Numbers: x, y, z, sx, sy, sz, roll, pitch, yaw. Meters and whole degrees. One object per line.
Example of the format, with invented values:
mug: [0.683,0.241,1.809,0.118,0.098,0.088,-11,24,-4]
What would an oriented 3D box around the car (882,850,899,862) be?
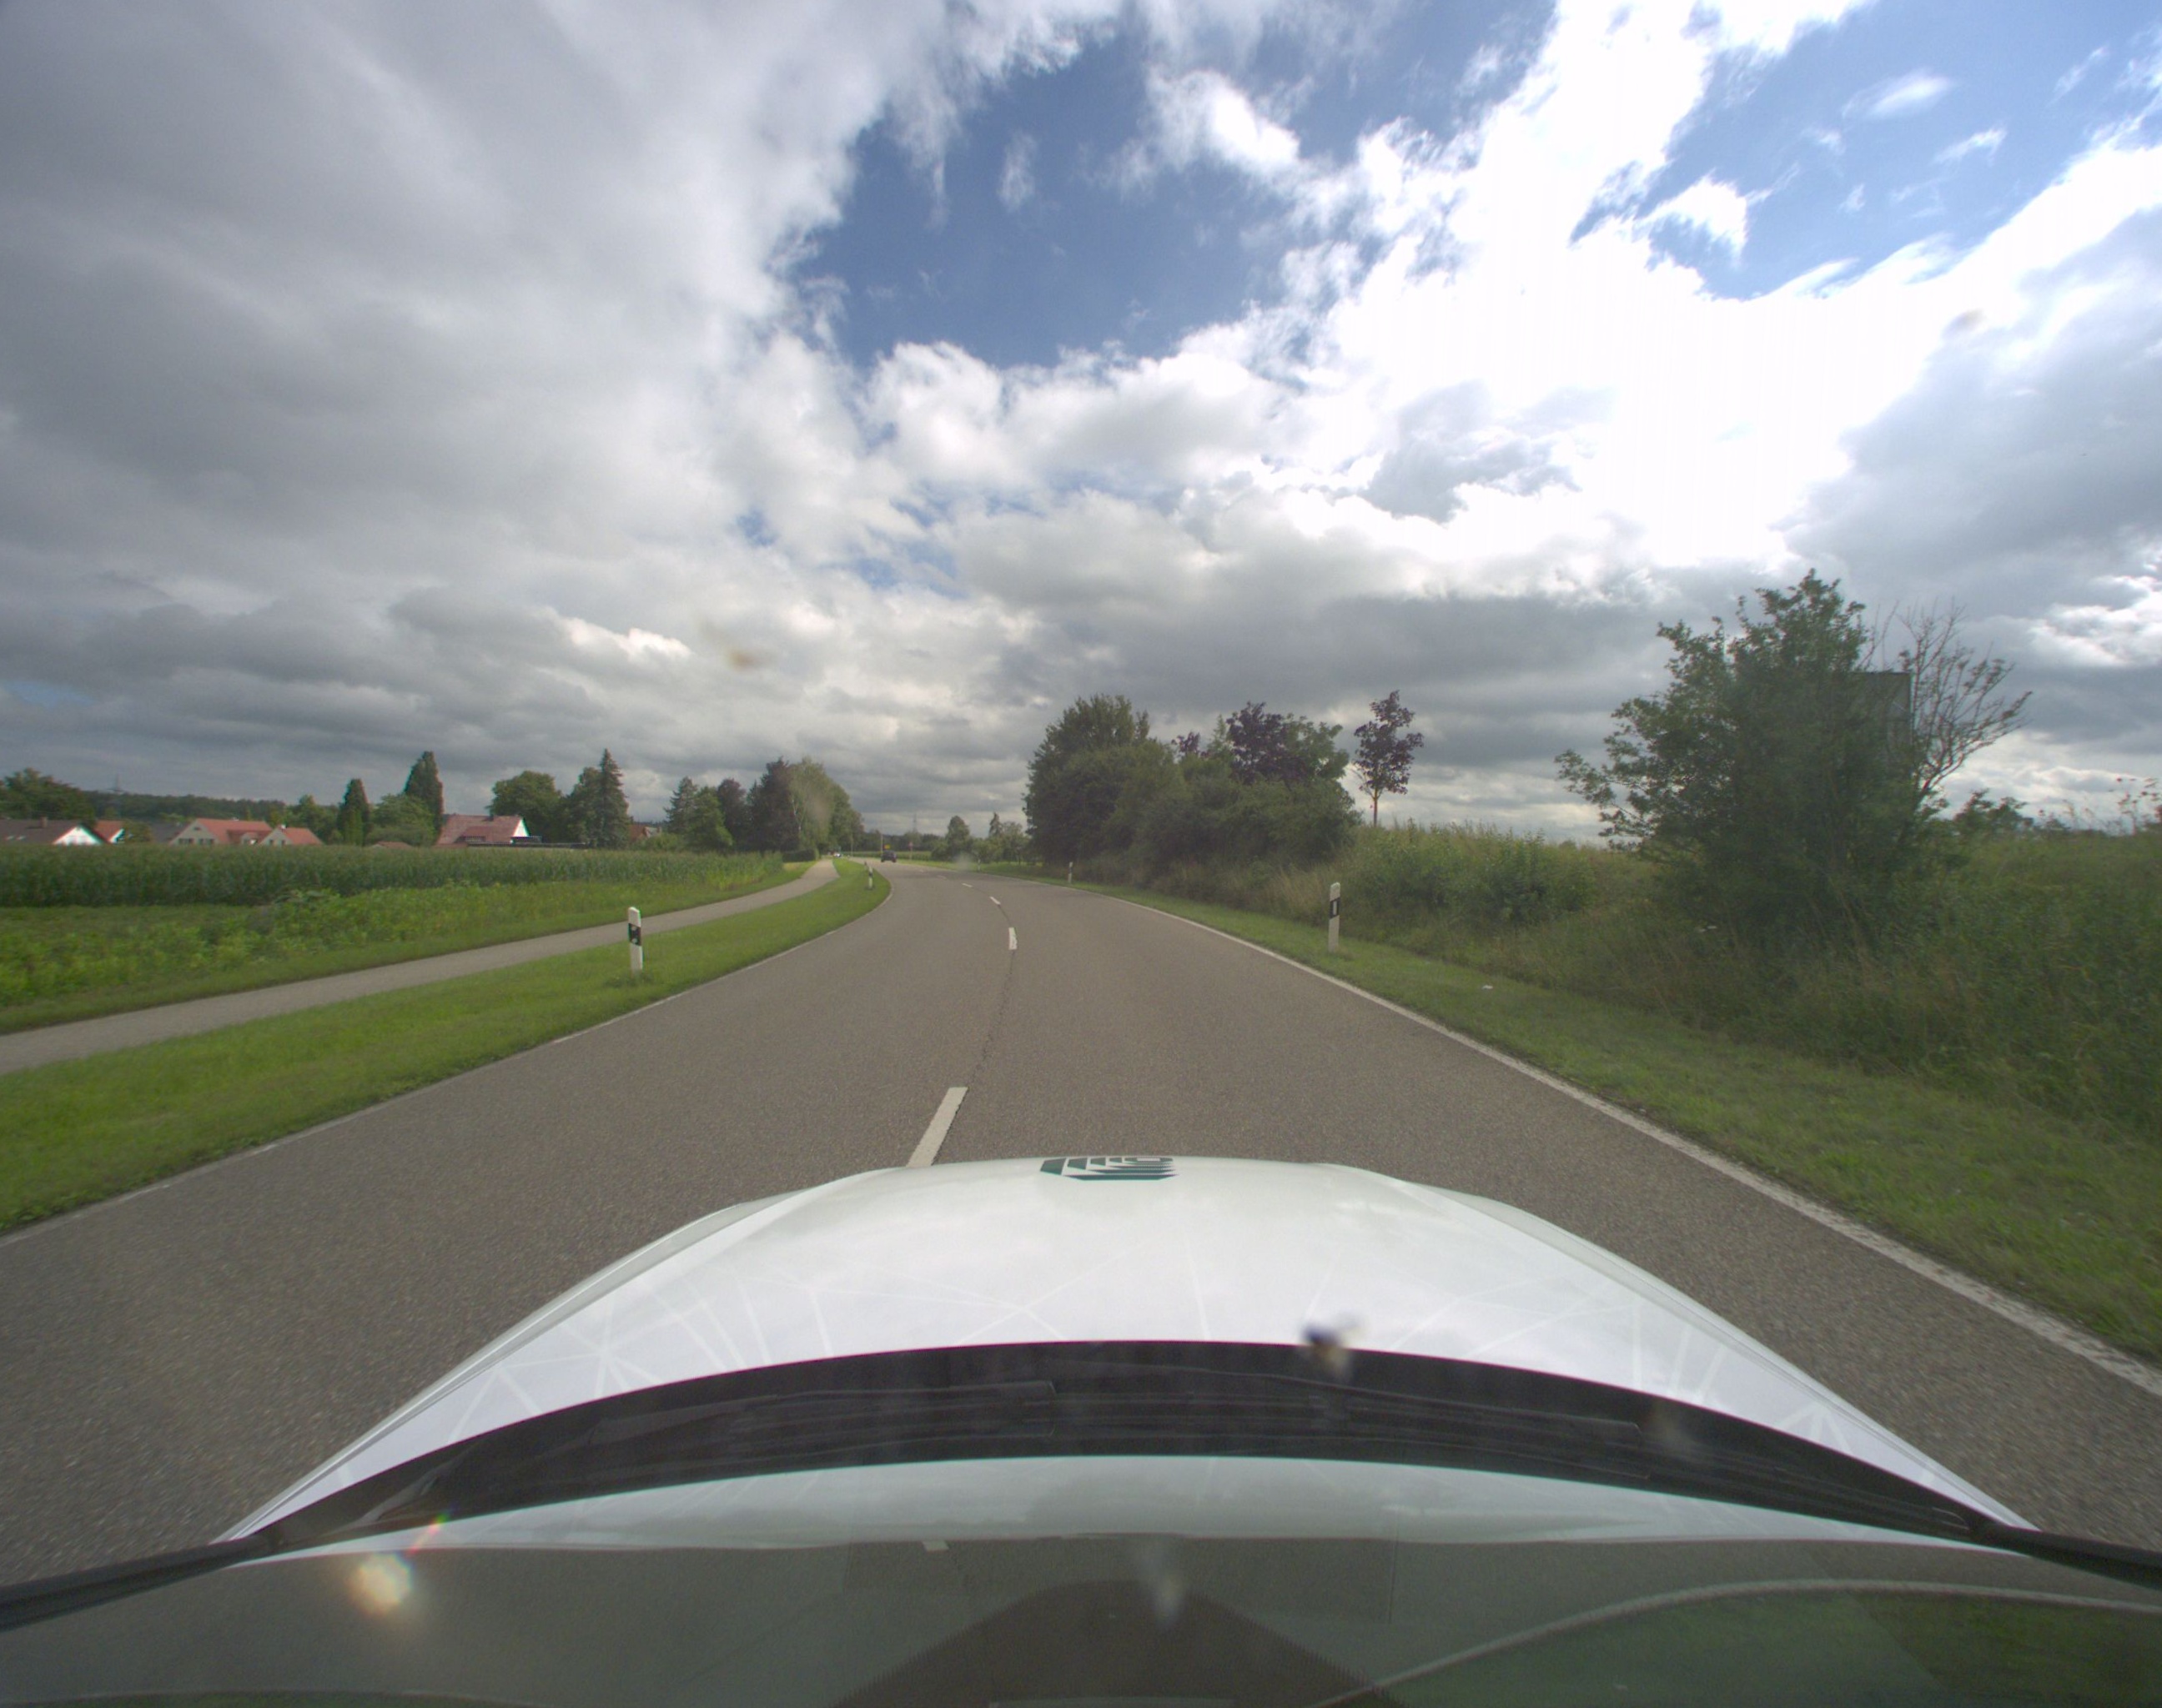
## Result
car: [-26.476,0.314,113.359,1.912,1.666,3.974,-1,0,-19]
